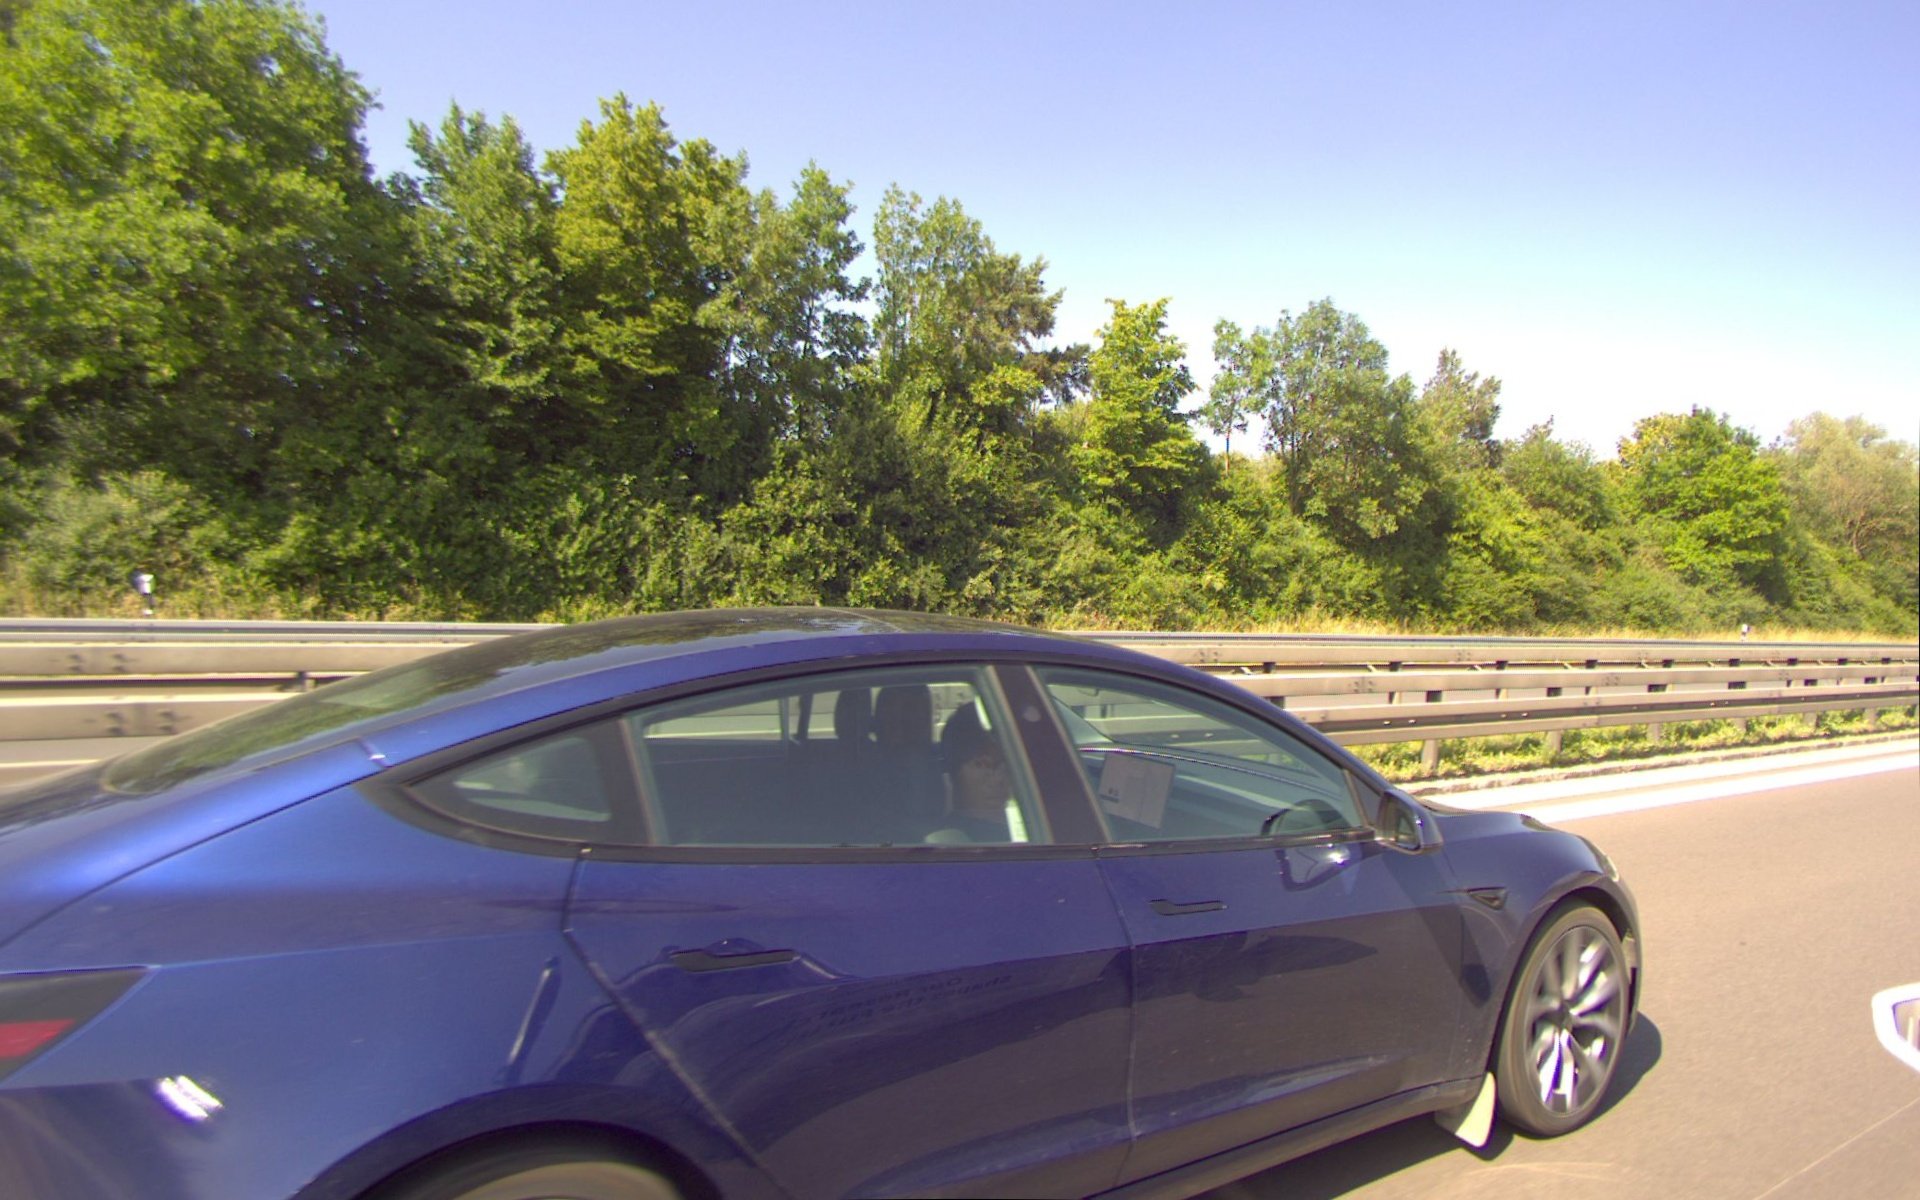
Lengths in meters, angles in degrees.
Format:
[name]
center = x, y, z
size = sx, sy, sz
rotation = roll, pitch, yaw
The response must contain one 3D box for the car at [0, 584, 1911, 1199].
[car]
center = 0.674, 0.765, 3.167
size = 5.797, 1.452, 1.838
rotation = 2, 0, -30
